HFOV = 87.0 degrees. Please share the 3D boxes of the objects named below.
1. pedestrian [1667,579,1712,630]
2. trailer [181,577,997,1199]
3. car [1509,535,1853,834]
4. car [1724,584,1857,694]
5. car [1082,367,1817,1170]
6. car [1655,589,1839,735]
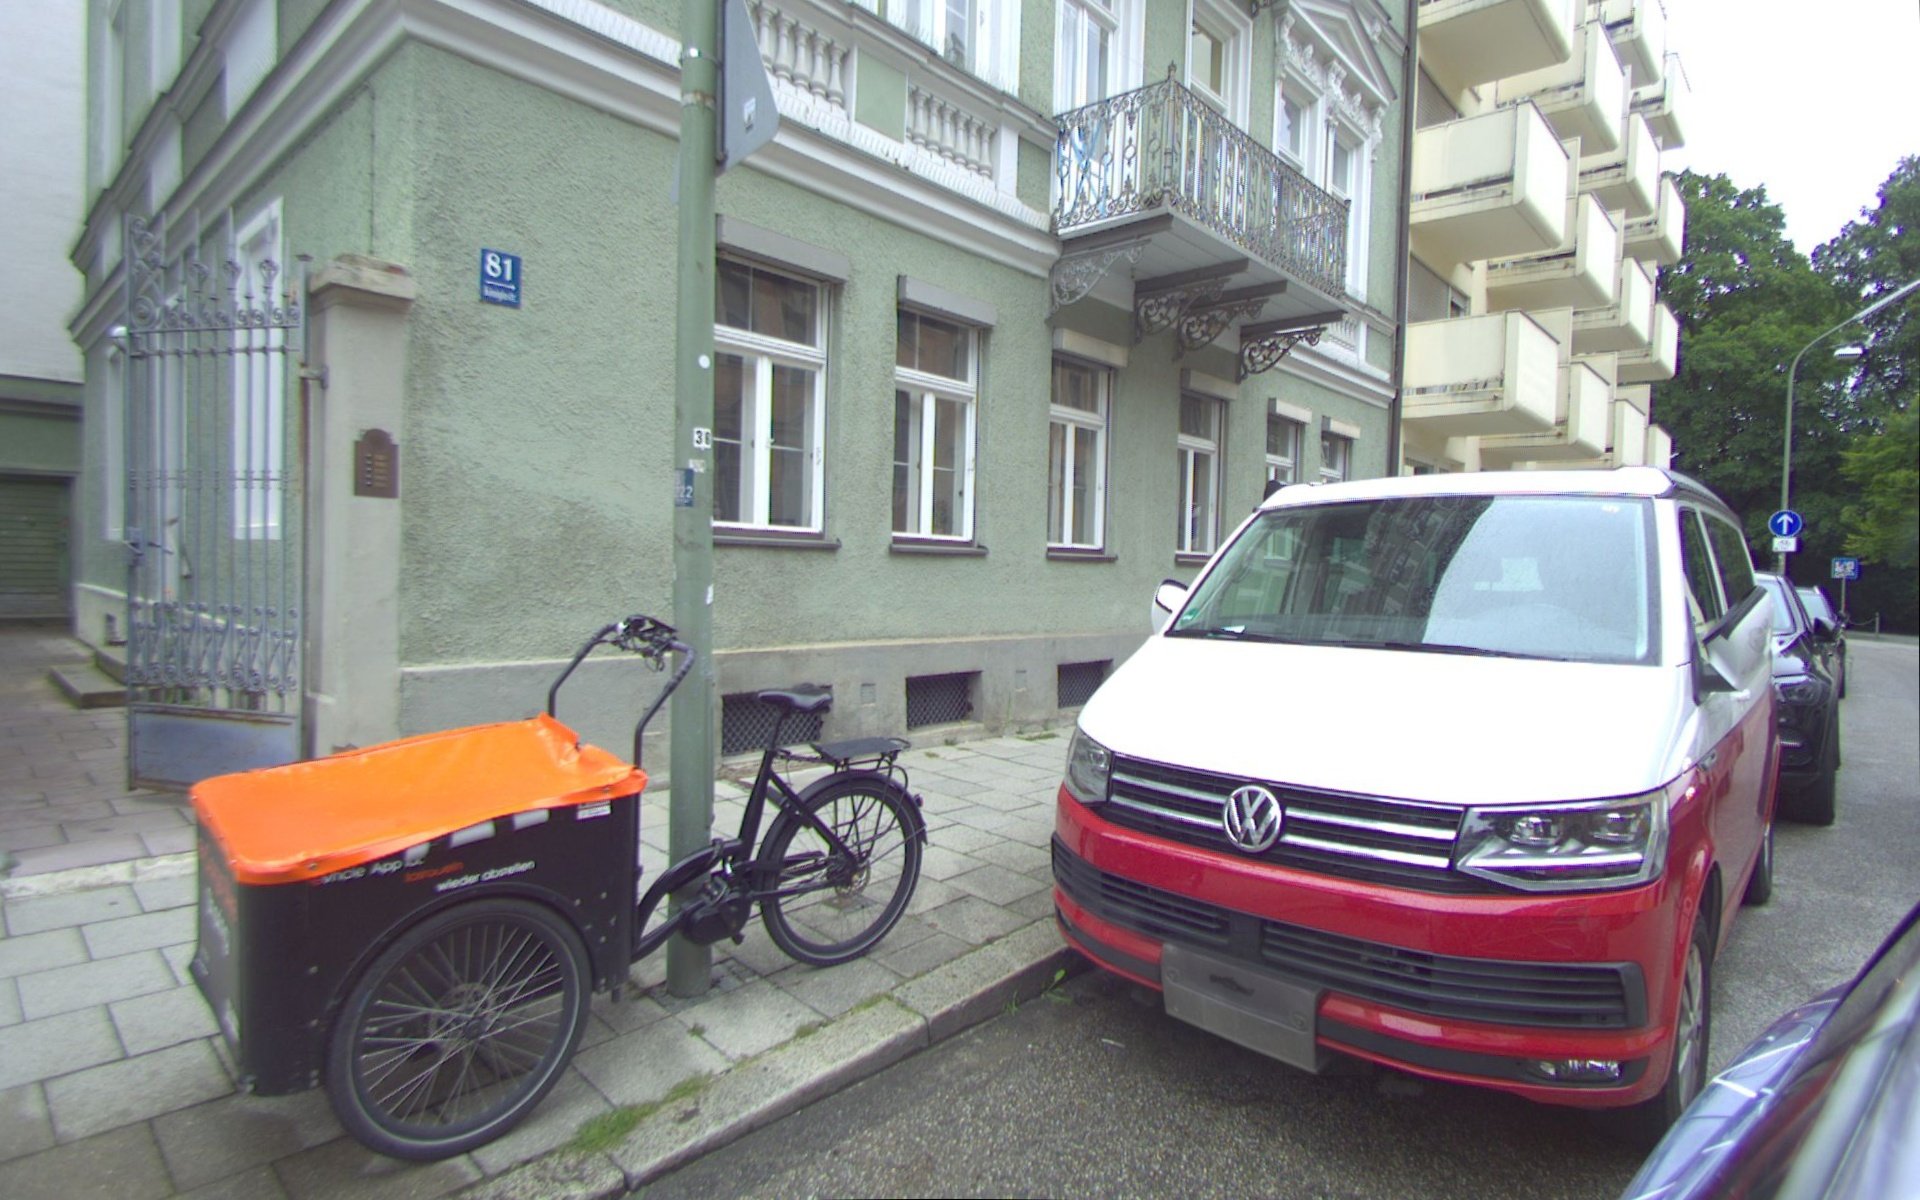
[{"bbox_3d":[26.680,0.151,37.046,1.064,1.822,1.085,0,0,21],"label":"pedestrian"},{"bbox_3d":[-1.001,0.579,3.110,2.127,1.198,0.944,0,5,-43],"label":"trailer"},{"bbox_3d":[6.101,0.500,8.315,1.826,1.780,4.484,1,0,42],"label":"car"},{"bbox_3d":[13.749,0.552,16.676,1.546,1.591,3.917,0,0,42],"label":"car"},{"bbox_3d":[2.649,0.392,4.723,1.853,1.920,4.520,0,0,43],"label":"car"},{"bbox_3d":[9.825,0.633,12.527,1.546,1.515,3.917,1,0,42],"label":"car"}]
